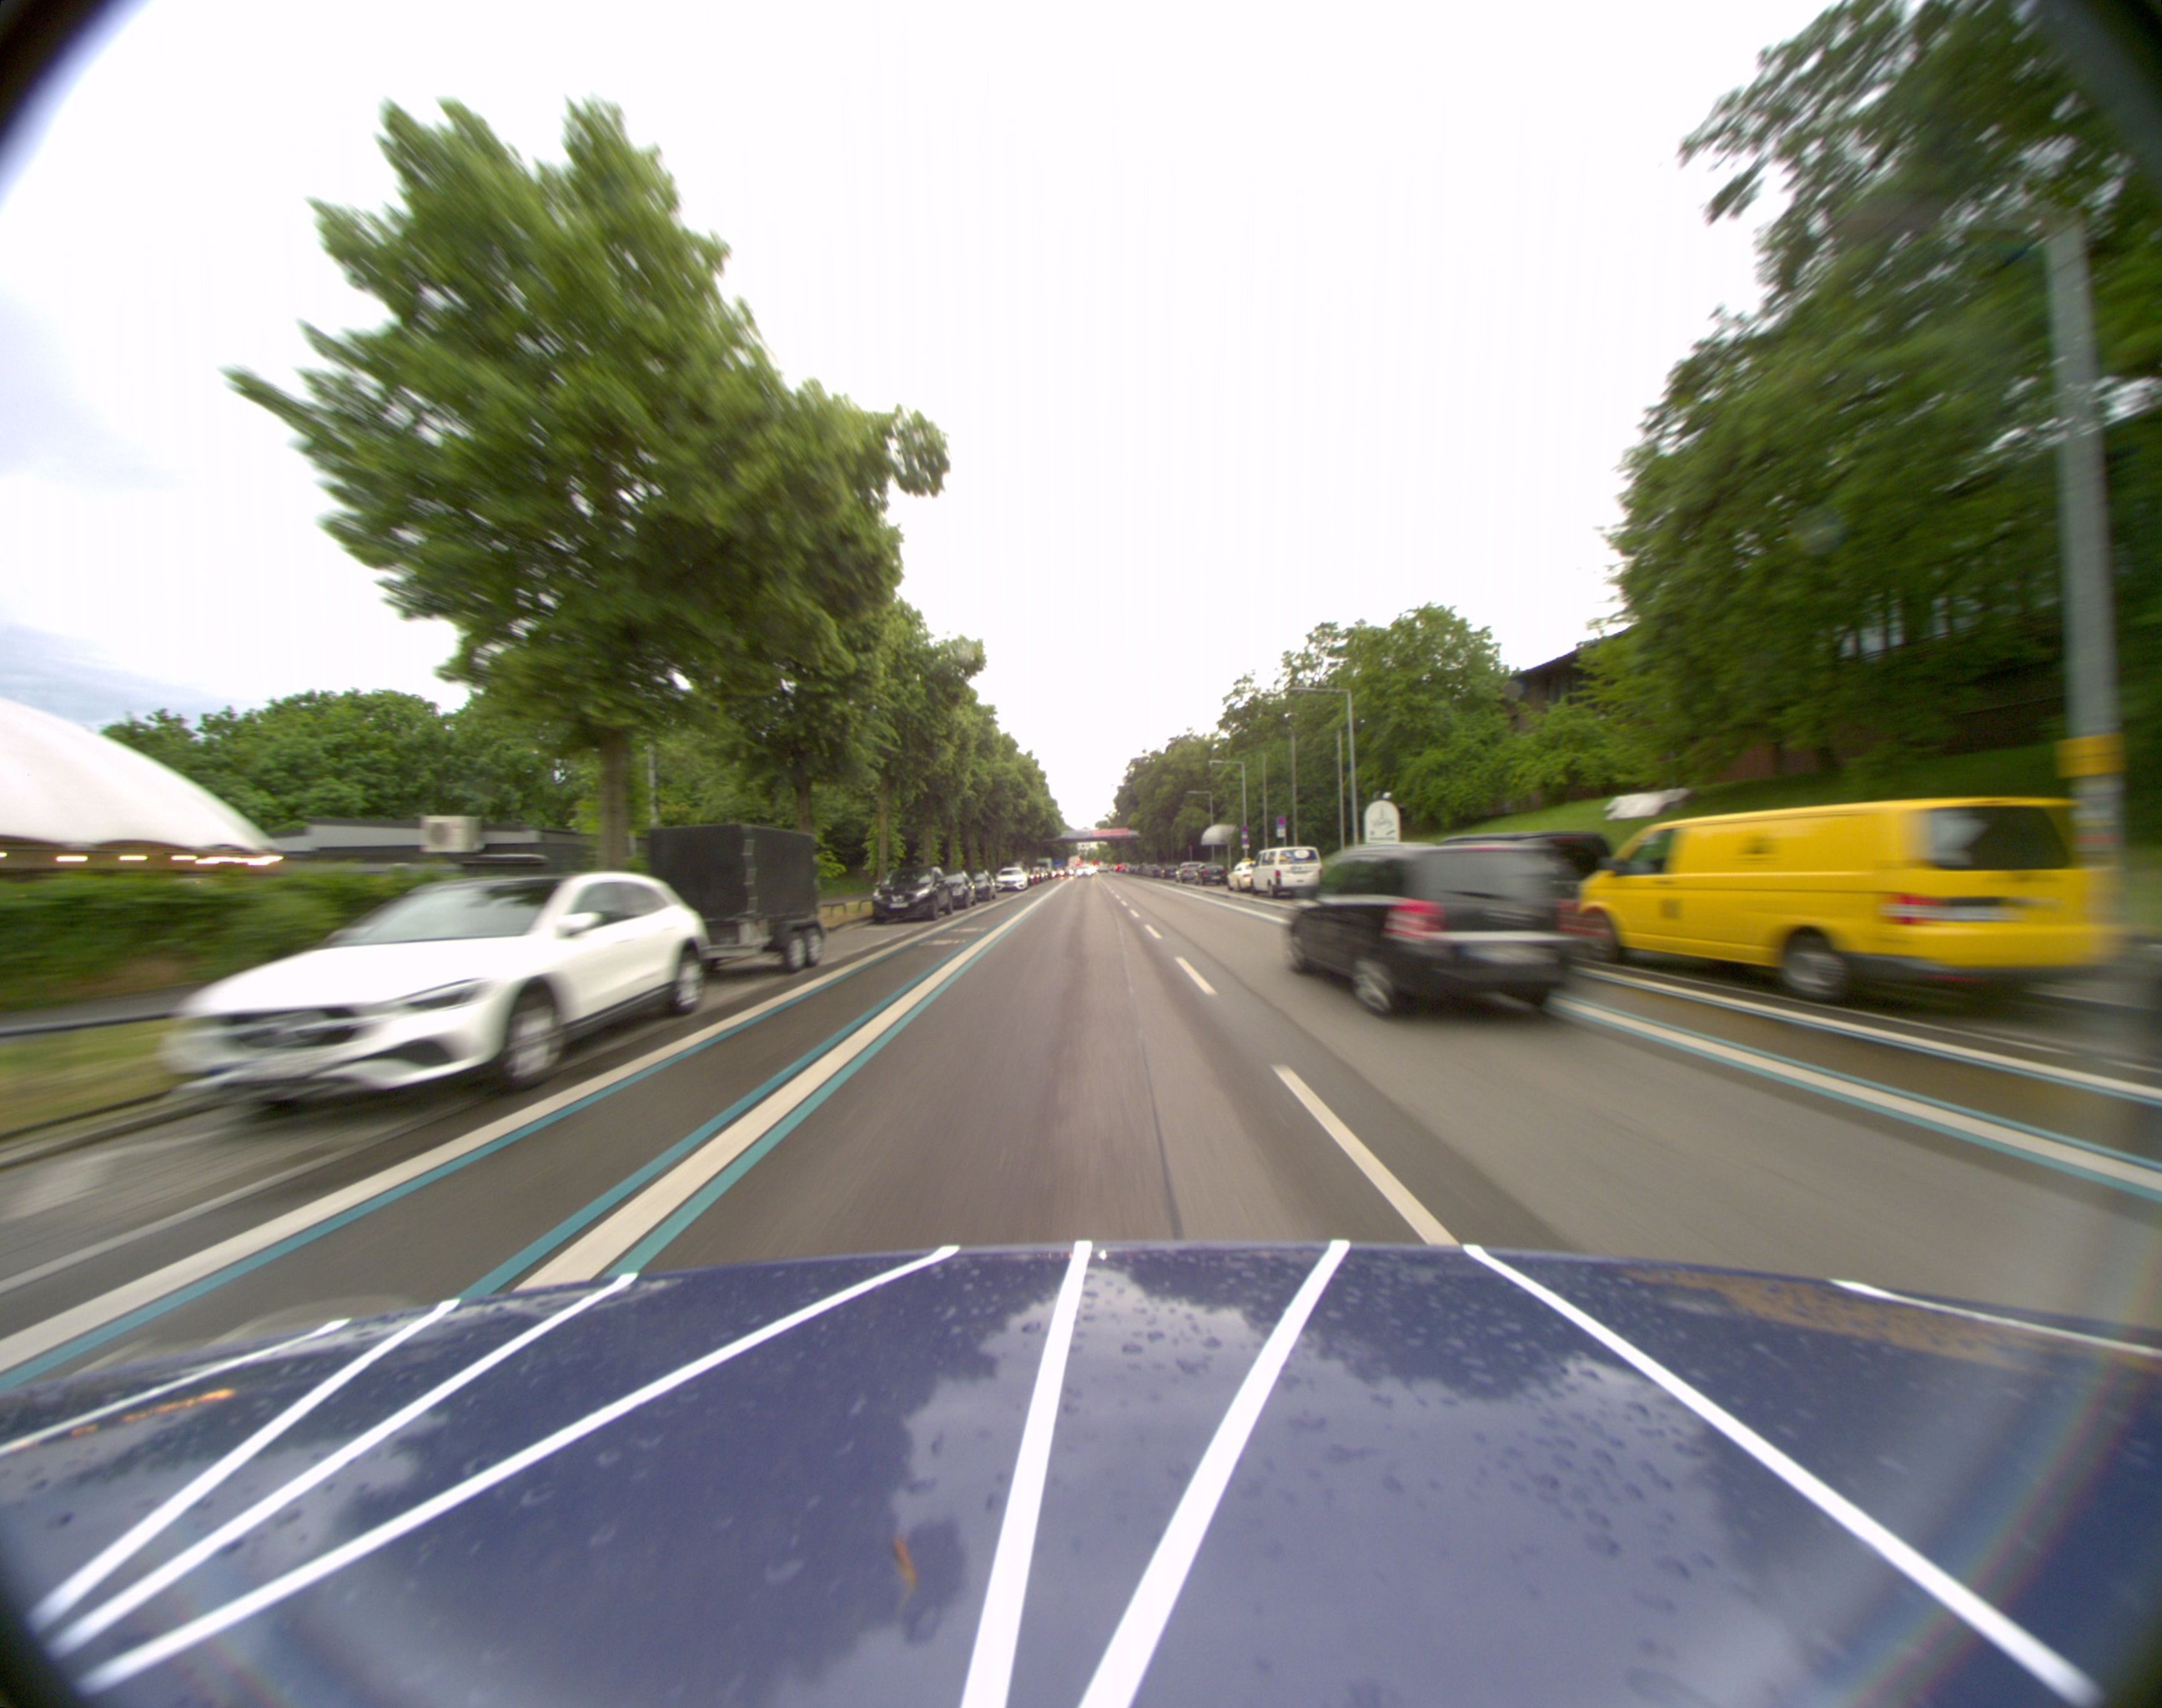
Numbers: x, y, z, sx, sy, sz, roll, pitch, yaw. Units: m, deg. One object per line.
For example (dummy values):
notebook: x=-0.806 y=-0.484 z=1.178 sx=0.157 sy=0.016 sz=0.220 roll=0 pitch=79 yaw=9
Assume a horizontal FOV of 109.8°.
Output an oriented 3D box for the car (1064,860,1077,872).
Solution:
car: x=-1.523 y=1.794 z=110.086 sx=1.733 sy=1.578 sz=3.671 roll=-3 pitch=0 yaw=1

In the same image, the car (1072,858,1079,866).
car: x=-1.723 y=2.548 z=246.873 sx=2.326 sy=2.342 sz=5.002 roll=-1 pitch=0 yaw=1

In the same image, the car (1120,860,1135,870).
car: x=8.148 y=1.918 z=133.518 sx=1.824 sy=1.732 sz=3.740 roll=-1 pitch=-1 yaw=-11

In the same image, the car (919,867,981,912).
car: x=-4.854 y=1.280 z=28.691 sx=1.694 sy=1.418 sz=3.999 roll=-3 pitch=0 yaw=-2

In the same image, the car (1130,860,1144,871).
car: x=9.061 y=1.883 z=123.033 sx=1.822 sy=1.732 sz=3.744 roll=-1 pitch=-1 yaw=-1

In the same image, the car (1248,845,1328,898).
car: x=8.280 y=0.664 z=30.884 sx=1.877 sy=1.965 sz=4.735 roll=-1 pitch=0 yaw=-1

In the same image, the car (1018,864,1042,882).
car: x=-4.325 y=1.591 z=64.982 sx=1.581 sy=1.381 sz=4.188 roll=-3 pitch=0 yaw=1

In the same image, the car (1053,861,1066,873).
car: x=-3.331 y=1.995 z=117.971 sx=1.733 sy=1.578 sz=3.671 roll=-3 pitch=0 yaw=1

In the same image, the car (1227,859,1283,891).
car: x=8.351 y=0.963 z=36.895 sx=1.731 sy=1.439 sz=4.595 roll=-1 pitch=0 yaw=1

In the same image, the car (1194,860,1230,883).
car: x=8.415 y=1.087 z=49.076 sx=1.680 sy=1.363 sz=3.586 roll=-1 pitch=0 yaw=1

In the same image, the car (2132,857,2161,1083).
car: x=7.955 y=0.744 z=3.074 sx=1.713 sy=1.495 sz=4.151 roll=-1 pitch=0 yaw=2

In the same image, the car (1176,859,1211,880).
car: x=8.176 y=1.107 z=55.718 sx=1.795 sy=1.459 sz=4.328 roll=-1 pitch=0 yaw=-1

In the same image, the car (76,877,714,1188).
car: x=-4.992 y=1.085 z=6.596 sx=1.761 sy=1.575 sz=4.412 roll=-3 pitch=0 yaw=-5

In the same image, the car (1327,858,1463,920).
car: x=8.253 y=0.847 z=20.451 sx=1.688 sy=1.450 sz=4.611 roll=-1 pitch=0 yaw=-1

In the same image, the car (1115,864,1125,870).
car: x=8.848 y=2.994 z=172.904 sx=1.870 sy=1.280 sz=3.999 roll=-2 pitch=0 yaw=-2

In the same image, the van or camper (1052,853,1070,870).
van or camper: x=-3.268 y=1.257 z=124.269 sx=2.642 sy=2.618 sz=5.742 roll=-3 pitch=0 yaw=1

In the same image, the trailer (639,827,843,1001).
trailer: x=-5.113 y=0.802 z=11.954 sx=1.349 sy=2.256 sz=3.564 roll=-3 pitch=0 yaw=3

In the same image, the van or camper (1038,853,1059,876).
van or camper: x=-3.954 y=1.233 z=93.348 sx=2.129 sy=2.694 sz=6.847 roll=-3 pitch=0 yaw=1

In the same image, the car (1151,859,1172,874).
car: x=8.738 y=1.384 z=83.050 sx=1.822 sy=1.533 sz=4.544 roll=-1 pitch=-1 yaw=1

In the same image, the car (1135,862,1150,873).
car: x=8.767 y=1.916 z=108.276 sx=1.822 sy=1.603 sz=3.744 roll=-1 pitch=-1 yaw=1

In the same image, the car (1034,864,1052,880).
car: x=-3.911 y=1.825 z=78.076 sx=1.581 sy=1.381 sz=3.671 roll=-3 pitch=0 yaw=1

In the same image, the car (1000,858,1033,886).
car: x=-4.537 y=1.258 z=54.310 sx=1.847 sy=1.865 sz=4.616 roll=-3 pitch=0 yaw=1

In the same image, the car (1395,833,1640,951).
car: x=8.227 y=0.635 z=15.054 sx=1.881 sy=1.909 sz=5.204 roll=-1 pitch=0 yaw=0

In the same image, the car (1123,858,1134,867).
car: x=9.947 y=1.763 z=159.119 sx=1.823 sy=1.940 sz=3.743 roll=-1 pitch=-1 yaw=-2

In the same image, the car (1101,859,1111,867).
car: x=5.080 y=1.908 z=156.078 sx=1.828 sy=1.453 sz=3.883 roll=-3 pitch=-2 yaw=1

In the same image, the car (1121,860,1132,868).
car: x=8.916 y=1.965 z=149.897 sx=1.823 sy=1.586 sz=3.743 roll=-1 pitch=-1 yaw=-2

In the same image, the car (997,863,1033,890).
car: x=-4.205 y=1.409 z=48.757 sx=1.824 sy=1.477 sz=4.292 roll=-3 pitch=0 yaw=1

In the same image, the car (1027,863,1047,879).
car: x=-4.154 y=1.577 z=72.533 sx=1.581 sy=1.381 sz=4.188 roll=-3 pitch=0 yaw=1

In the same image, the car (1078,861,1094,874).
car: x=0.663 y=1.657 z=93.985 sx=1.828 sy=1.453 sz=3.882 roll=-3 pitch=0 yaw=1

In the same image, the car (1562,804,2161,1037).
car: x=8.049 y=0.564 z=8.730 sx=1.998 sy=1.902 sz=4.845 roll=-1 pitch=0 yaw=1

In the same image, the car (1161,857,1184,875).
car: x=8.867 y=1.183 z=73.936 sx=1.822 sy=1.755 sz=4.001 roll=-1 pitch=-1 yaw=1

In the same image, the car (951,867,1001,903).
car: x=-4.732 y=1.362 z=34.709 sx=1.689 sy=1.374 sz=4.083 roll=-3 pitch=0 yaw=0

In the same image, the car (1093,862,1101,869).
car: x=3.773 y=2.782 z=178.986 sx=1.823 sy=1.586 sz=3.743 roll=-1 pitch=-1 yaw=-2

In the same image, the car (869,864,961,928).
car: x=-4.919 y=1.186 z=23.107 sx=1.694 sy=1.562 sz=4.339 roll=-4 pitch=0 yaw=1

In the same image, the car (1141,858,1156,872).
car: x=9.112 y=1.481 z=102.720 sx=1.822 sy=1.848 sz=3.744 roll=-1 pitch=-1 yaw=1

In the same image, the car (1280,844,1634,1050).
car: x=3.483 y=0.750 z=8.021 sx=1.715 sy=1.608 sz=4.150 roll=0 pitch=0 yaw=0
